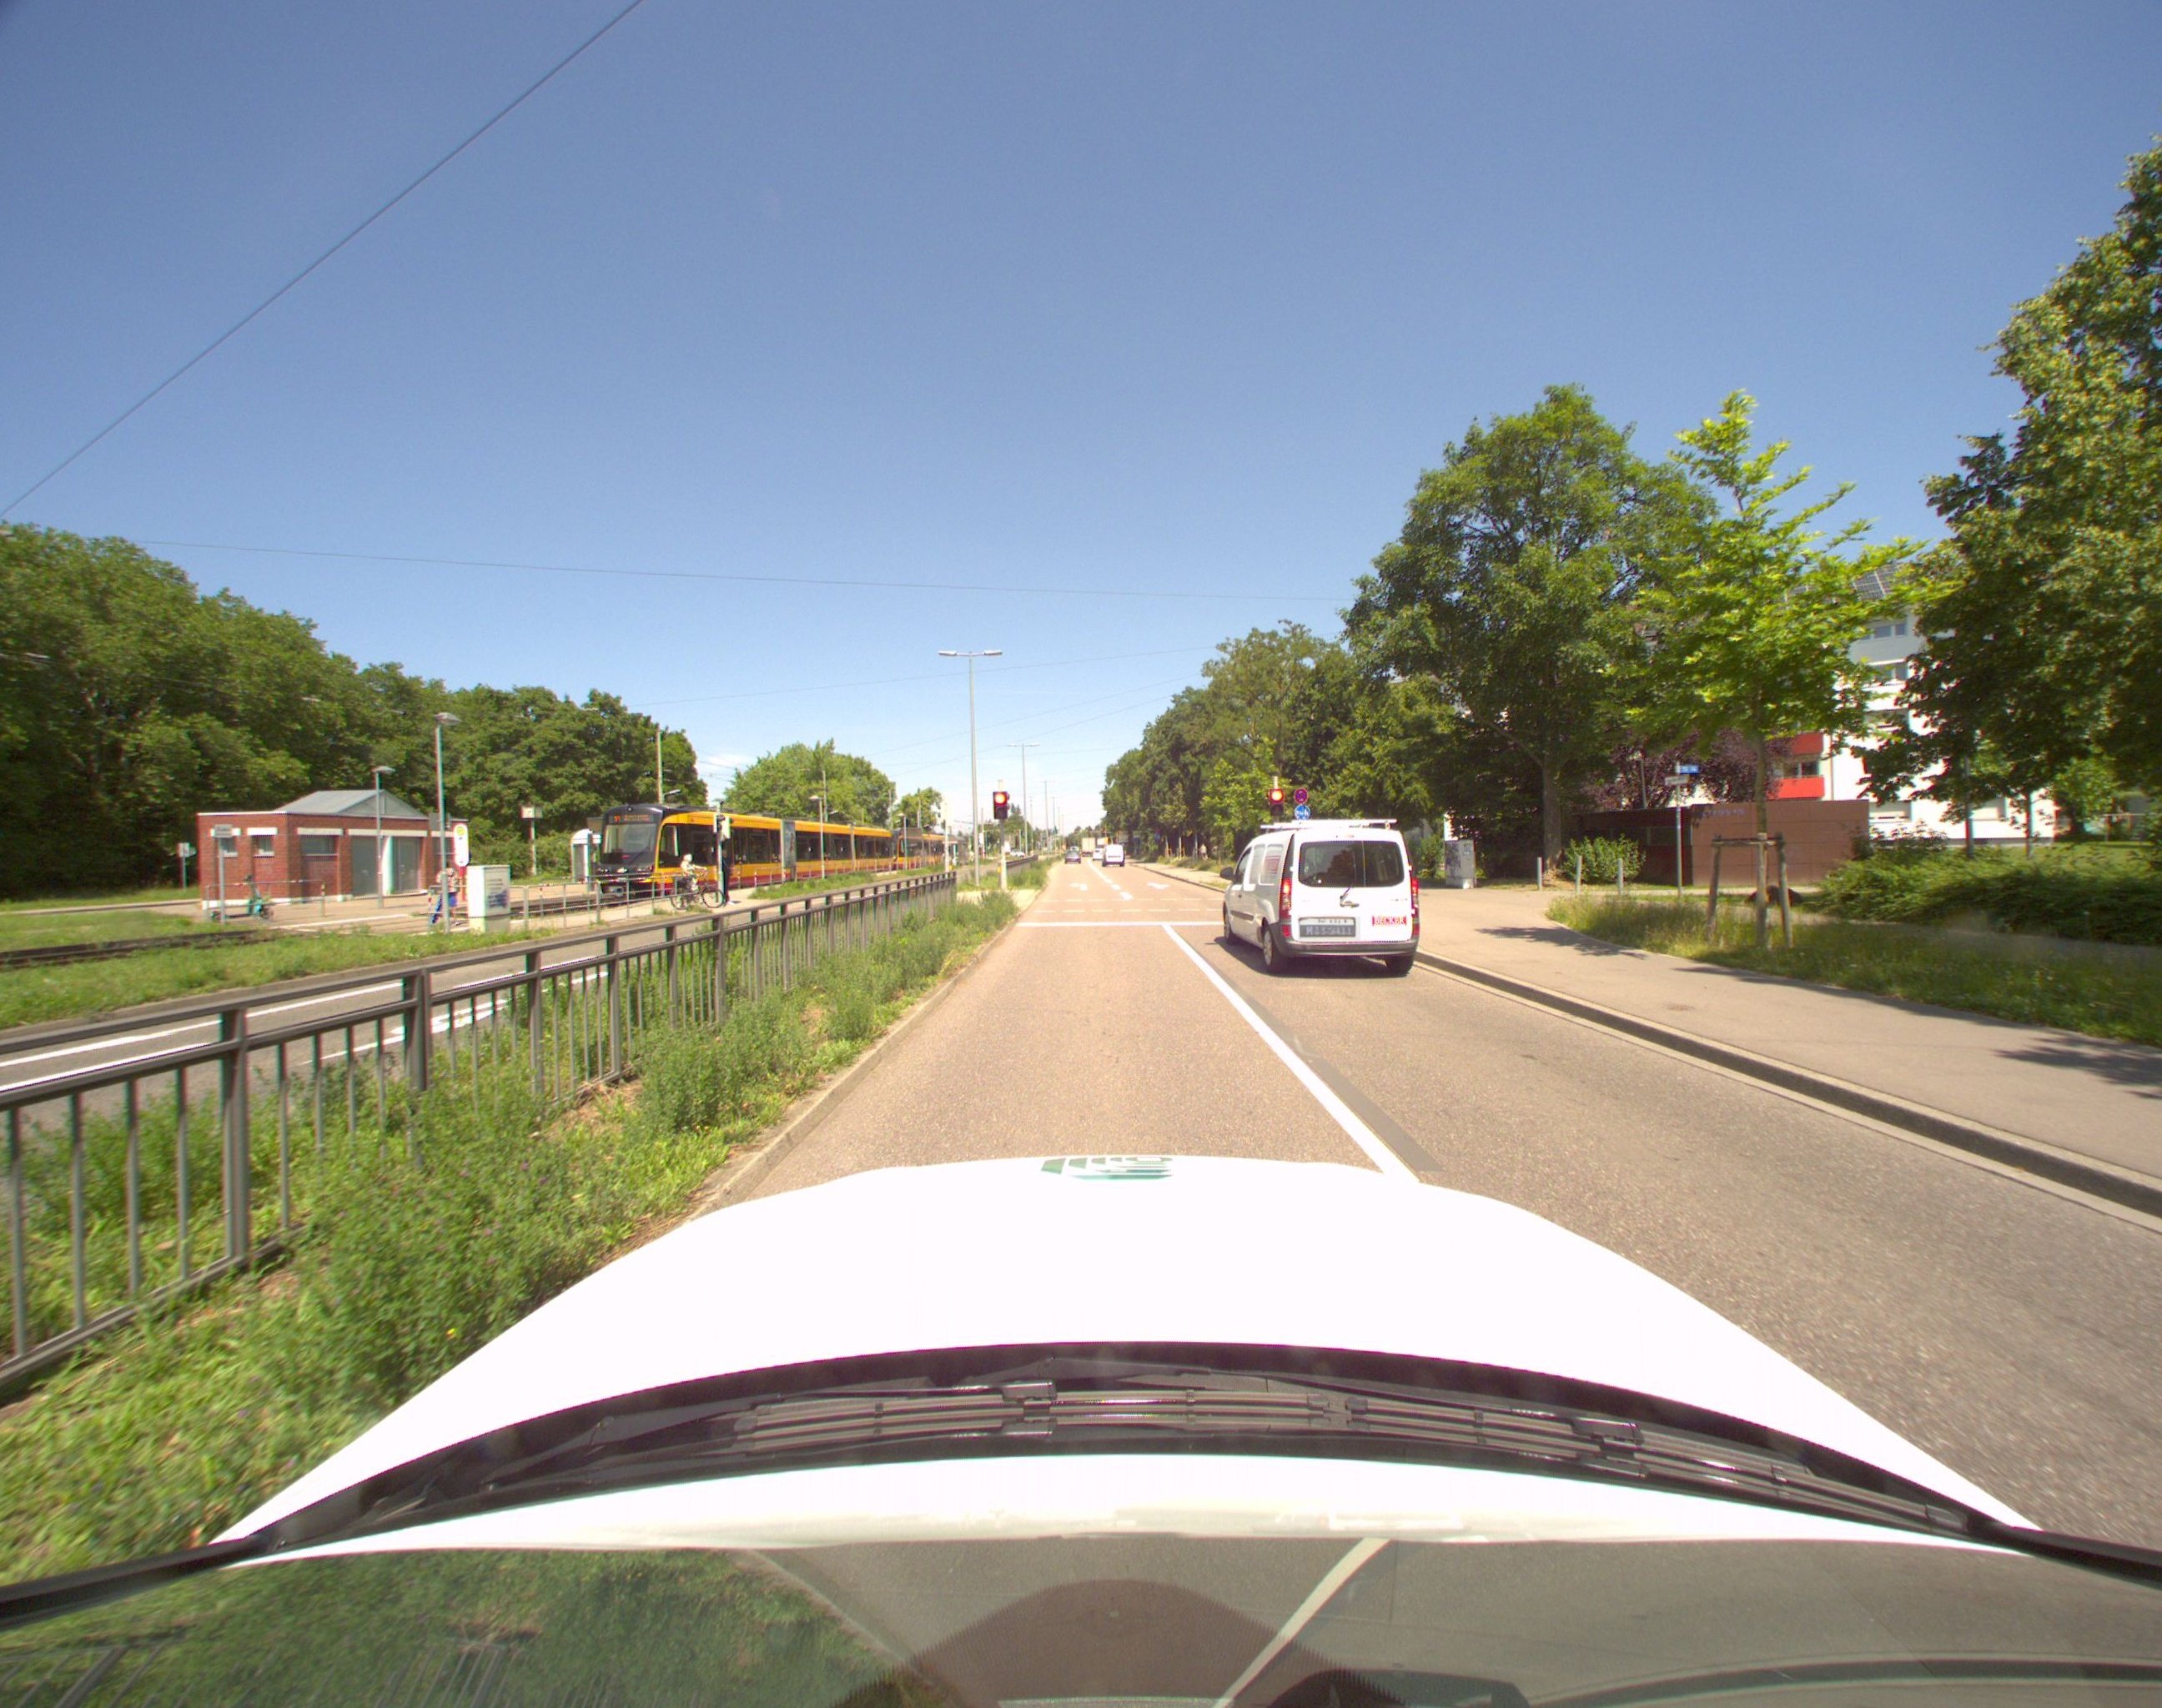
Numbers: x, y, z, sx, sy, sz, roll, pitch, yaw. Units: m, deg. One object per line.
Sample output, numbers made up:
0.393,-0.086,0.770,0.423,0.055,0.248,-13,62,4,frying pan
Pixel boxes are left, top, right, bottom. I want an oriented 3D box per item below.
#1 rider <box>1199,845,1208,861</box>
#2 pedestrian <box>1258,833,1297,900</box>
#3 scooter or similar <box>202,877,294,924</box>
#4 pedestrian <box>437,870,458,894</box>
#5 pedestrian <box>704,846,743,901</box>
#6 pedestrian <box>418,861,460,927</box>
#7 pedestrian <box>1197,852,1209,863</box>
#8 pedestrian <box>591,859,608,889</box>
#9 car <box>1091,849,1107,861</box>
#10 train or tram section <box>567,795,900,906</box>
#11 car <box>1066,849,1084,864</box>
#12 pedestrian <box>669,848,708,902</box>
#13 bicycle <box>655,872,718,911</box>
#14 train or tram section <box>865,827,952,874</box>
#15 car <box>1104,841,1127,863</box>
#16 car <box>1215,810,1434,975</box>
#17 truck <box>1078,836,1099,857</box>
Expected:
10.241,-0.078,68.265,0.676,1.281,0.533,-1,0,-1,rider
5.517,0.349,22.904,1.039,1.850,0.760,-1,0,13,pedestrian
-22.104,1.206,21.641,0.605,1.127,1.683,-1,0,44,scooter or similar
-27.579,1.202,35.447,0.479,1.018,0.522,-1,0,2,pedestrian
-11.890,0.642,27.097,0.949,1.796,0.709,-1,0,29,pedestrian
-15.496,0.952,19.652,0.858,1.541,0.541,-1,0,35,pedestrian
10.239,0.297,68.319,0.676,0.847,1.773,-1,0,0,pedestrian
-22.960,0.940,38.835,0.460,1.435,0.525,-1,0,-2,pedestrian
2.215,0.130,102.535,1.798,1.540,3.998,-1,0,-1,car
-15.706,-0.198,45.834,2.779,3.668,37.510,-1,0,0,train or tram section
-0.619,0.215,84.962,1.796,1.486,3.999,-1,0,-1,car
-12.183,0.648,25.278,0.815,1.628,0.706,-1,0,5,pedestrian
-12.205,1.149,25.182,1.854,1.157,0.243,-1,0,4,bicycle
-15.758,-0.336,77.557,2.779,3.668,25.993,-1,0,0,train or tram section
2.904,-0.207,67.689,1.720,1.813,4.005,0,1,4,car
3.162,0.428,11.555,1.818,1.881,4.456,0,0,1,car
1.487,-1.500,162.046,3.887,3.812,10.790,-1,0,0,truck
